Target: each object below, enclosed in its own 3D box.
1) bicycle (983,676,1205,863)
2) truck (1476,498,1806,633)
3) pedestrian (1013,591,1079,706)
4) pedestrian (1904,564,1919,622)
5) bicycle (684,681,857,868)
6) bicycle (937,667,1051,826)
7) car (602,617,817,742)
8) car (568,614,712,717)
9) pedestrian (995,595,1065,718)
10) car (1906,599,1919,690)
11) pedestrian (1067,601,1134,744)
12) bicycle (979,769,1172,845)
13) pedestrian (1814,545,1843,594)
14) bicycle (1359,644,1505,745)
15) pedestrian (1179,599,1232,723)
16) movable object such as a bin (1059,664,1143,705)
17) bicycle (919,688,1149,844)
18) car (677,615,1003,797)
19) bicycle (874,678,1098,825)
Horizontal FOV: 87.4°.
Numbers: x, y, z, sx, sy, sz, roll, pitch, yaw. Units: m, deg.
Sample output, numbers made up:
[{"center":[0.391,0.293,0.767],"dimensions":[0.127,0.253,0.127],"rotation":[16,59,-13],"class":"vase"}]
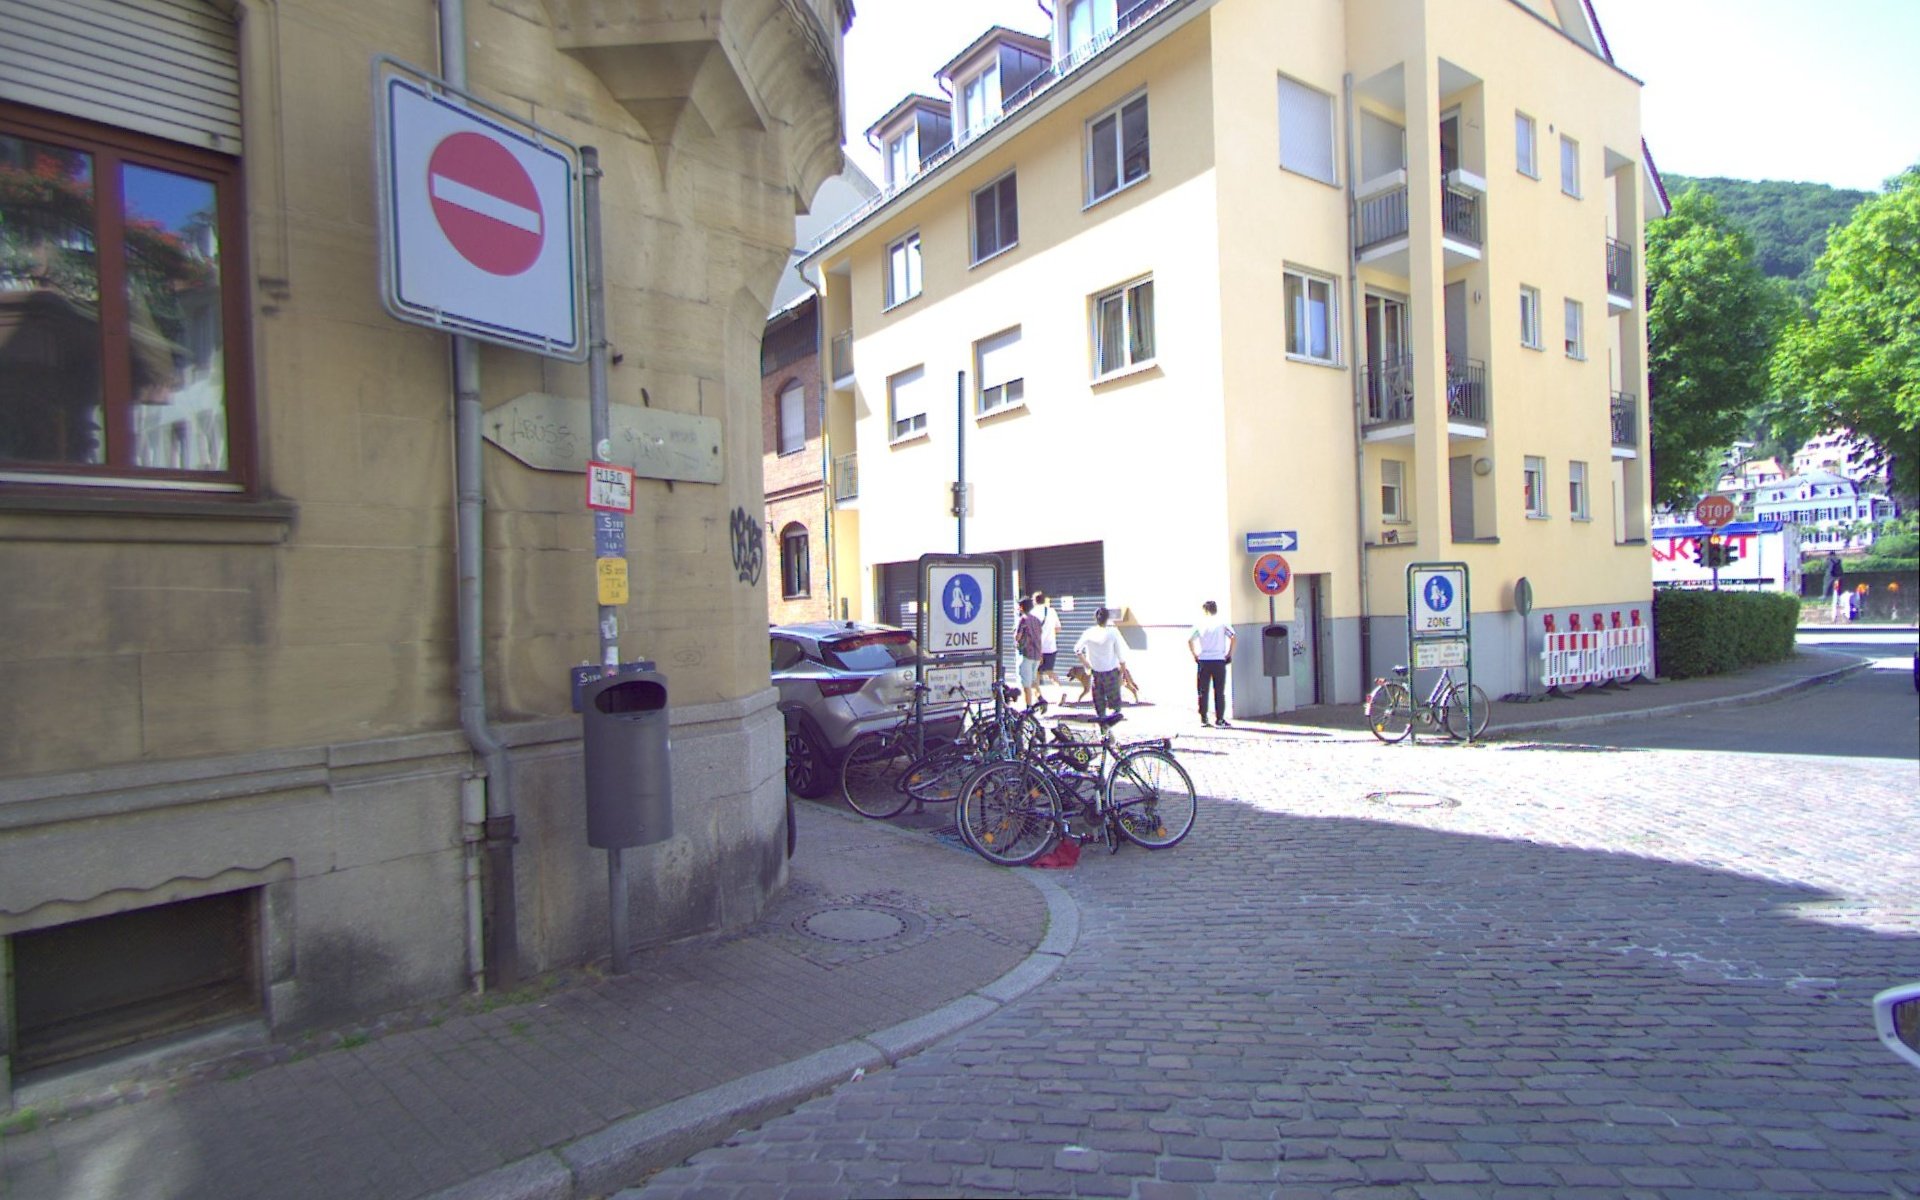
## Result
[{"center":[0.953,1.140,6.984],"dimensions":[1.619,1.100,0.284],"rotation":[-2,3,-23],"class":"bicycle"},{"center":[24.036,-0.971,36.120],"dimensions":[2.838,4.101,9.308],"rotation":[0,-2,-40],"class":"truck"},{"center":[1.364,0.746,15.970],"dimensions":[0.613,1.768,0.853],"rotation":[2,0,-35],"class":"pedestrian"},{"center":[30.855,-0.219,32.288],"dimensions":[0.698,1.825,0.574],"rotation":[-1,-2,-36],"class":"pedestrian"},{"center":[-1.357,1.138,6.986],"dimensions":[0.491,1.100,1.625],"rotation":[4,-4,-37],"class":"bicycle"},{"center":[0.332,1.193,8.584],"dimensions":[0.280,1.100,1.640],"rotation":[-4,0,25],"class":"bicycle"},{"center":[-3.911,1.074,15.229],"dimensions":[1.835,1.565,3.959],"rotation":[0,0,-36],"class":"car"},{"center":[-6.010,1.109,18.609],"dimensions":[1.552,1.657,3.824],"rotation":[0,0,-34],"class":"car"},{"center":[1.044,0.816,15.016],"dimensions":[0.613,1.768,0.853],"rotation":[2,0,-35],"class":"pedestrian"},{"center":[18.003,0.646,17.429],"dimensions":[4.684,1.481,1.701],"rotation":[-2,-2,-40],"class":"car"},{"center":[1.691,0.844,12.013],"dimensions":[0.676,1.639,0.757],"rotation":[1,-2,15],"class":"pedestrian"},{"center":[0.870,1.576,7.796],"dimensions":[1.108,0.291,1.073],"rotation":[-2,-1,-23],"class":"bicycle"},{"center":[34.175,-1.198,39.540],"dimensions":[0.752,1.882,0.754],"rotation":[-1,0,34],"class":"pedestrian"},{"center":[5.821,1.139,12.363],"dimensions":[1.881,1.093,0.390],"rotation":[-2,0,-20],"class":"bicycle"},{"center":[3.314,0.817,13.569],"dimensions":[0.644,1.639,0.493],"rotation":[-1,0,11],"class":"pedestrian"},{"center":[2.154,1.299,15.362],"dimensions":[1.220,0.571,0.300],"rotation":[-4,-3,26],"class":"movable object such as a bin"},{"center":[0.588,1.209,7.508],"dimensions":[1.633,1.086,0.285],"rotation":[-1,43,-48],"class":"bicycle"},{"center":[-1.481,1.003,11.053],"dimensions":[1.835,1.564,3.887],"rotation":[-2,0,-37],"class":"car"},{"center":[0.235,1.153,7.851],"dimensions":[1.633,1.086,0.285],"rotation":[-1,43,-48],"class":"bicycle"}]
